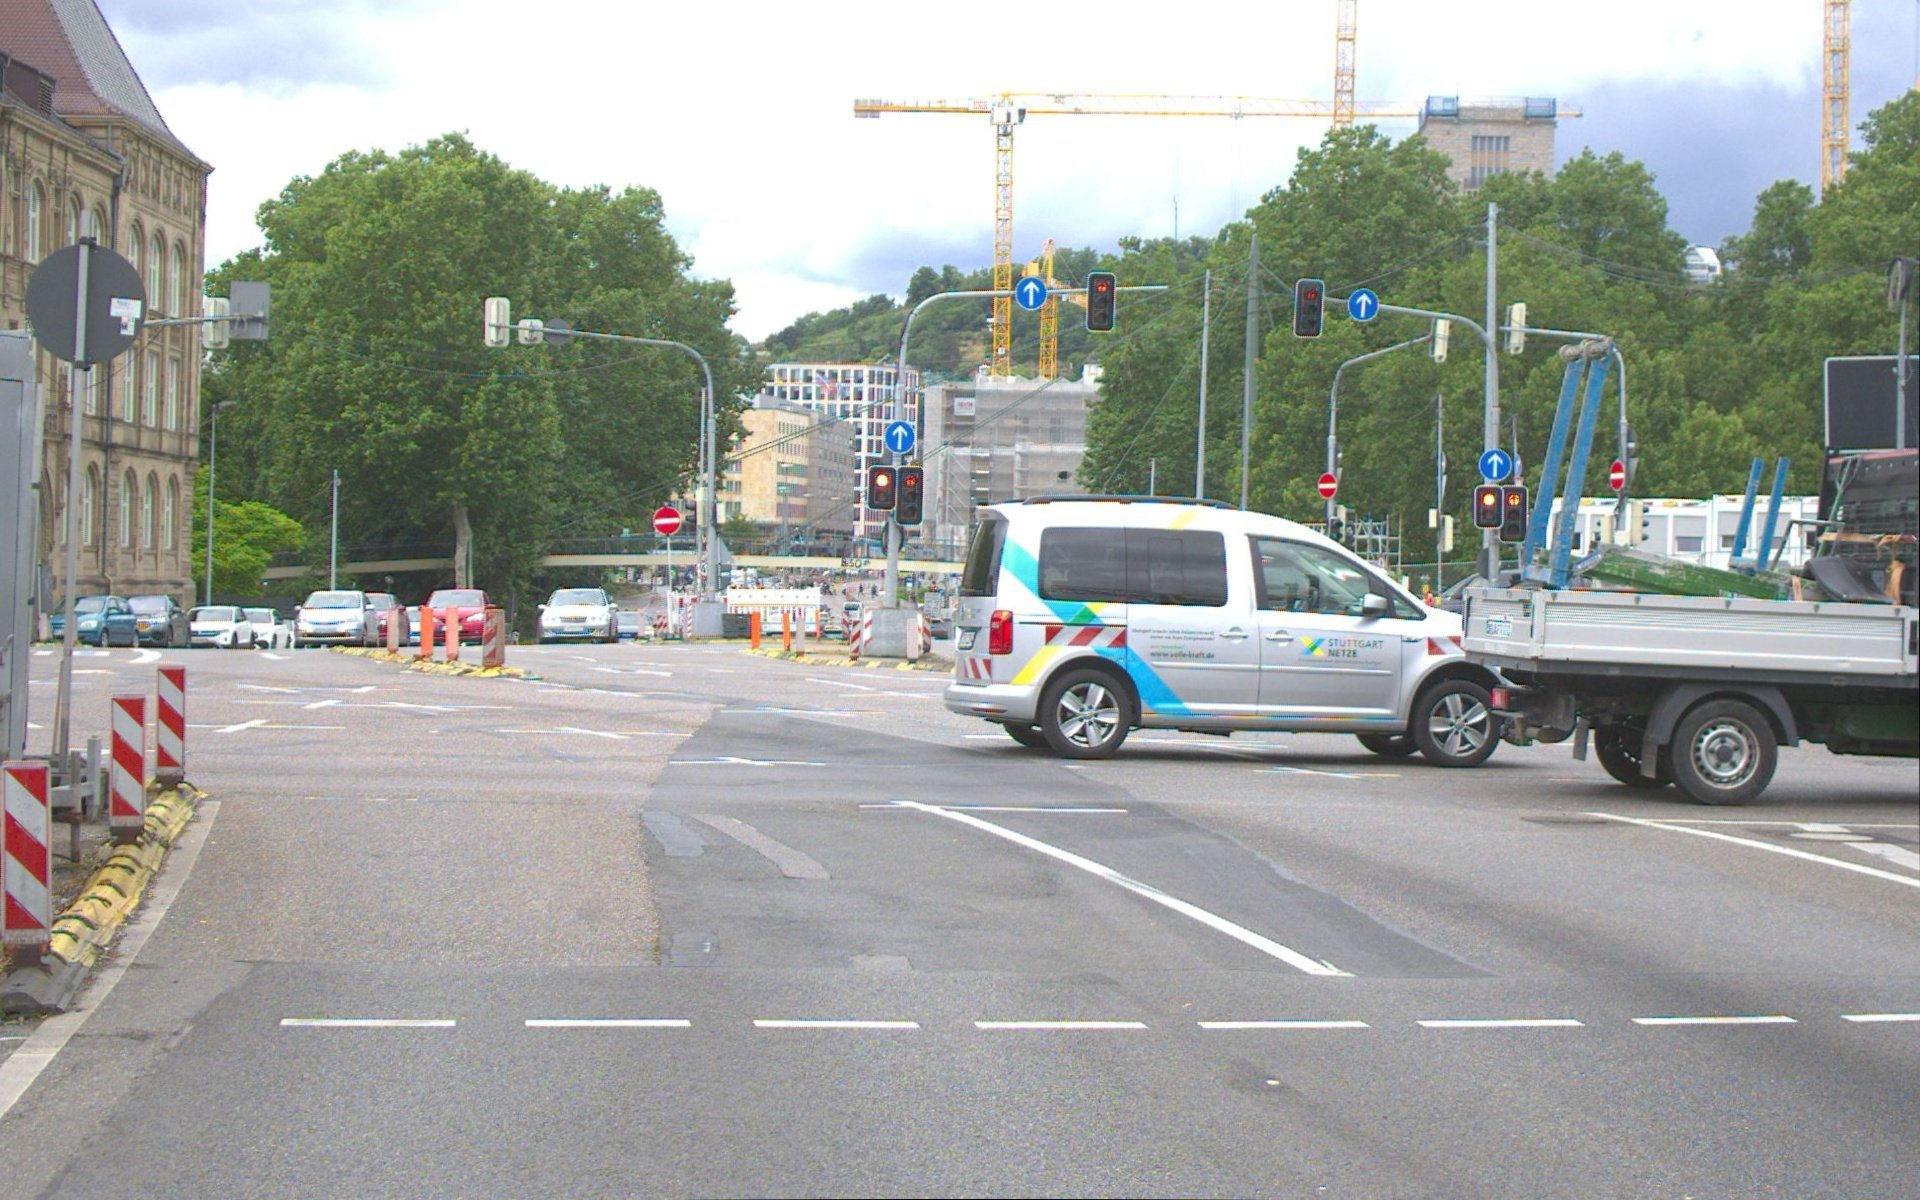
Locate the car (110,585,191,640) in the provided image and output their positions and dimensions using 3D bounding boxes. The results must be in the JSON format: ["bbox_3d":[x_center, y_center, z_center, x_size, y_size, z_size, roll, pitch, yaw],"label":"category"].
[{"bbox_3d":[-21.855,0.320,92.910,1.675,1.393,3.684,1,1,-7],"label":"car"}]

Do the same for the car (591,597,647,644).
[{"bbox_3d":[-10.733,0.624,108.149,1.675,1.393,3.684,1,1,-7],"label":"car"}]

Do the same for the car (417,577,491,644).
[{"bbox_3d":[-12.455,0.234,84.720,1.675,1.575,3.684,1,1,-7],"label":"car"}]

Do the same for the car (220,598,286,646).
[{"bbox_3d":[-22.316,0.714,108.582,1.675,1.393,3.683,0,-2,-6],"label":"car"}]

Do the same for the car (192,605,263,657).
[{"bbox_3d":[-21.280,0.887,99.967,1.675,1.393,3.684,1,1,-7],"label":"car"}]

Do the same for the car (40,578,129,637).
[{"bbox_3d":[-21.999,0.173,86.487,1.675,1.393,3.684,1,1,-7],"label":"car"}]

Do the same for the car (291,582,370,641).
[{"bbox_3d":[-15.650,0.271,85.630,1.675,1.393,3.684,1,1,-7],"label":"car"}]

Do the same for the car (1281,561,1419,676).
[{"bbox_3d":[5.985,0.260,53.051,1.676,1.696,3.374,1,1,-1],"label":"car"}]

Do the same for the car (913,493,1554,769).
[{"bbox_3d":[1.921,0.218,24.784,4.266,1.875,1.831,1,0,-9],"label":"car"}]

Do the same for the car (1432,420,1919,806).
[{"bbox_3d":[6.129,0.094,21.986,5.757,2.297,2.304,1,0,-5],"label":"car"}]

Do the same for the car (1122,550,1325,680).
[{"bbox_3d":[3.659,0.178,48.484,1.831,1.740,4.257,1,1,-10],"label":"car"}]

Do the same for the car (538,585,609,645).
[{"bbox_3d":[-9.566,0.362,85.048,1.675,1.393,3.684,1,1,-7],"label":"car"}]

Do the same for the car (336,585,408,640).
[{"bbox_3d":[-15.670,0.308,91.791,1.675,1.393,3.684,1,1,-7],"label":"car"}]
